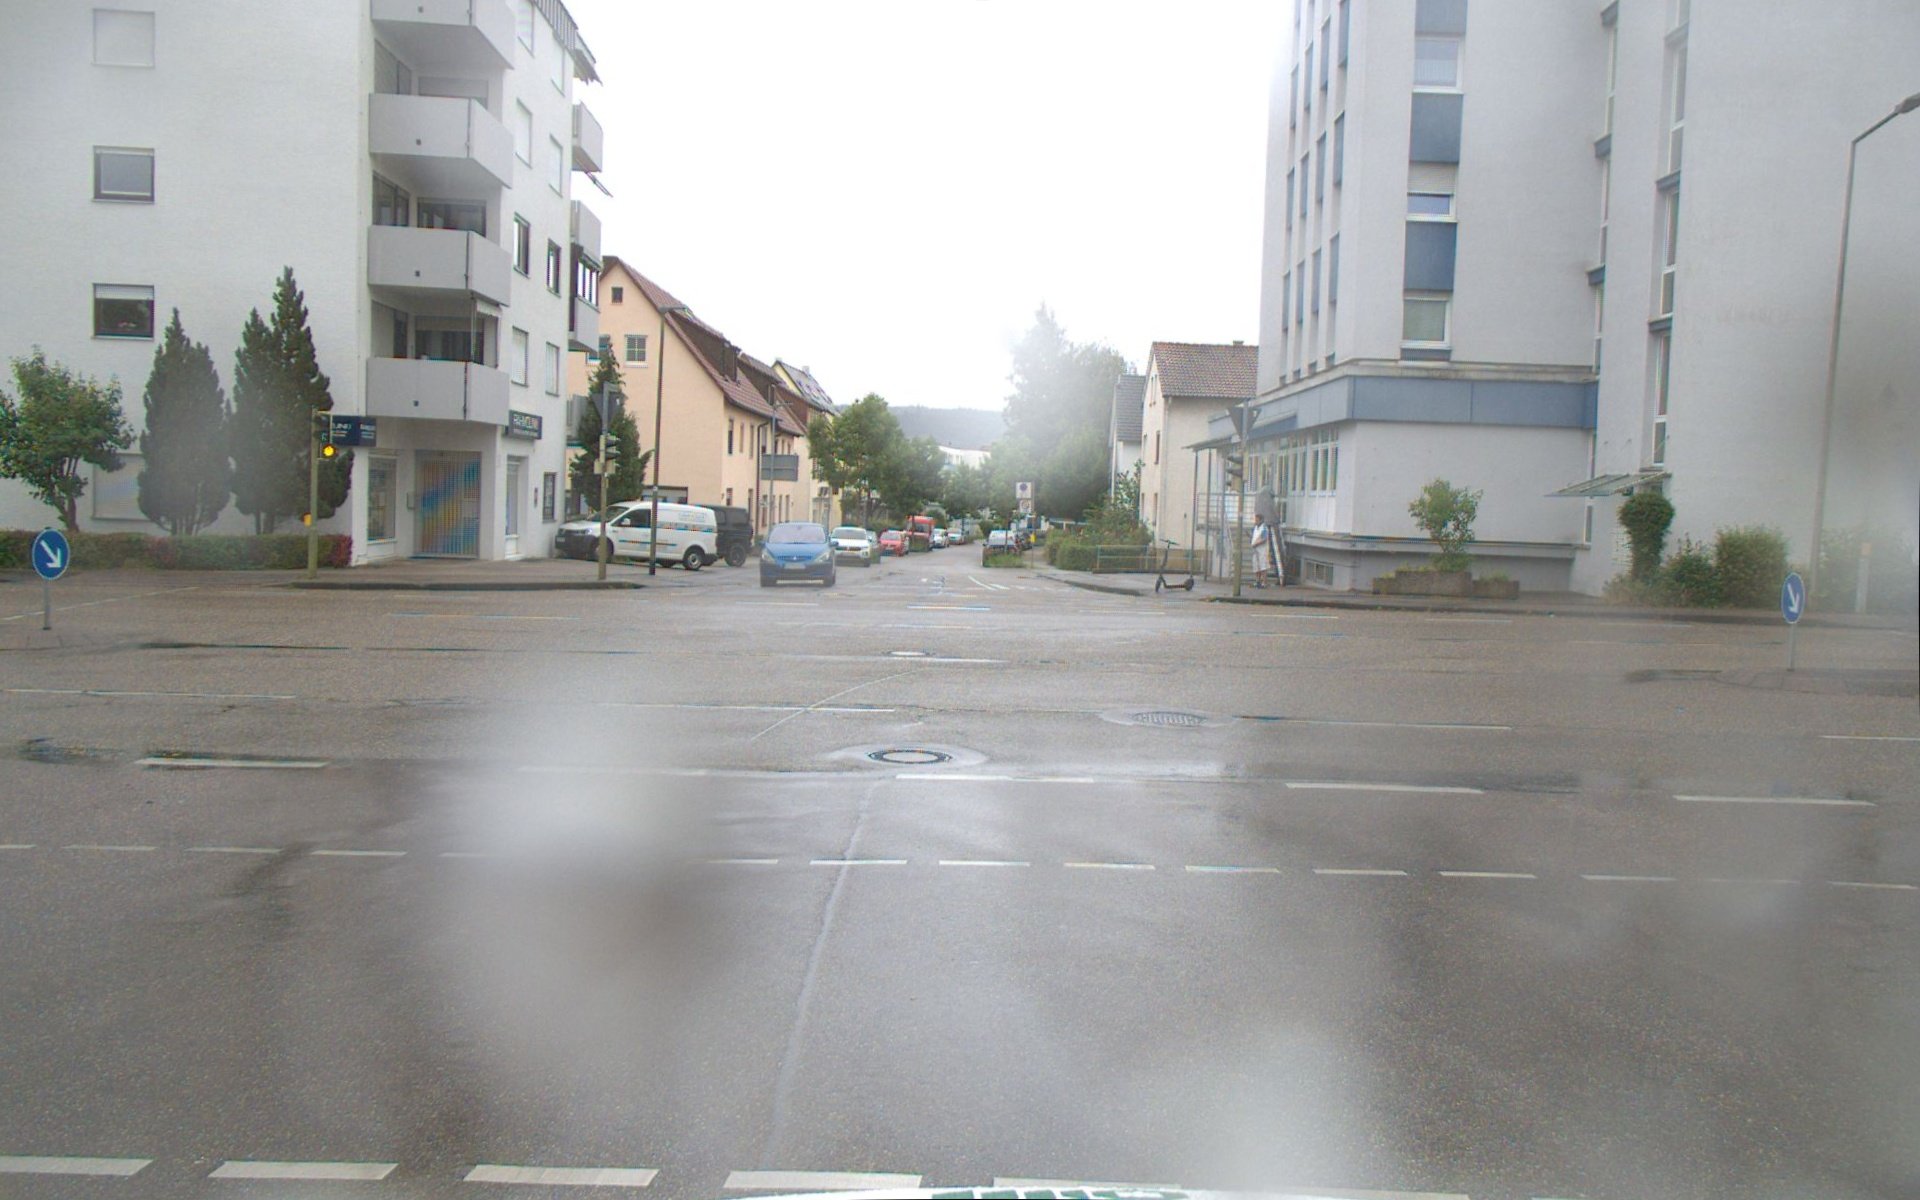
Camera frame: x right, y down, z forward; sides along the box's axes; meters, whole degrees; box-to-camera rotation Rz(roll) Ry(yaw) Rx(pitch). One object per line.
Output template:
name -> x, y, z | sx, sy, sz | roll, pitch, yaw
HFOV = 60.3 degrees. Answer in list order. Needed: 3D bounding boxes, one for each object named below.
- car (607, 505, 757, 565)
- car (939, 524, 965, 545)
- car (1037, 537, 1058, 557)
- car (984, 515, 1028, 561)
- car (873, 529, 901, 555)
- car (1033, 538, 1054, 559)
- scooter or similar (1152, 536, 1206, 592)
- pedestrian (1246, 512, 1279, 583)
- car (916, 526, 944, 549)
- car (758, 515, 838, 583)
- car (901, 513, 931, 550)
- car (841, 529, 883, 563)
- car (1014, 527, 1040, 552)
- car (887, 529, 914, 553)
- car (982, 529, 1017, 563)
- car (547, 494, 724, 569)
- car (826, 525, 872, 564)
car -> -9.144, -2.118, 54.574 | 4.578, 1.921, 1.935 | -1, 2, -40
car -> -0.727, -6.139, 154.456 | 1.951, 1.736, 4.003 | 1, 0, 6
car -> 9.023, -5.437, 170.493 | 1.951, 2.048, 4.003 | 1, 2, 4
car -> 2.293, -3.037, 81.483 | 1.951, 2.049, 4.002 | 1, 0, 4
car -> -4.606, -3.643, 104.217 | 1.732, 1.545, 3.998 | 0, 2, -3
car -> 8.194, -5.071, 161.971 | 1.951, 2.048, 4.003 | 1, 2, 4
scooter or similar -> 5.106, -0.832, 38.635 | 1.039, 1.249, 0.800 | 1, 0, -10
pedestrian -> 7.261, -1.253, 39.698 | 0.641, 1.680, 0.646 | 1, -1, 0
car -> -2.518, -5.221, 138.754 | 1.951, 1.713, 4.002 | 1, 0, 4
car -> -3.840, -1.192, 39.777 | 1.732, 1.471, 3.997 | 1, 0, -3
car -> -3.371, -5.235, 127.233 | 2.171, 2.816, 5.725 | 0, 2, -1
car -> -4.664, -2.598, 79.311 | 1.731, 1.545, 4.195 | 1, 2, 0
car -> 5.587, -5.007, 137.172 | 1.951, 2.048, 4.003 | 1, 2, 4
car -> -4.083, -4.012, 112.328 | 1.732, 1.545, 3.998 | 0, 2, -3
car -> 2.501, -3.356, 103.507 | 1.951, 2.048, 4.003 | 1, 2, 4
car -> -9.277, -1.933, 47.452 | 4.684, 1.809, 1.748 | 3, 0, -40
car -> -4.529, -2.271, 67.795 | 1.732, 1.549, 3.999 | 0, 2, -2
